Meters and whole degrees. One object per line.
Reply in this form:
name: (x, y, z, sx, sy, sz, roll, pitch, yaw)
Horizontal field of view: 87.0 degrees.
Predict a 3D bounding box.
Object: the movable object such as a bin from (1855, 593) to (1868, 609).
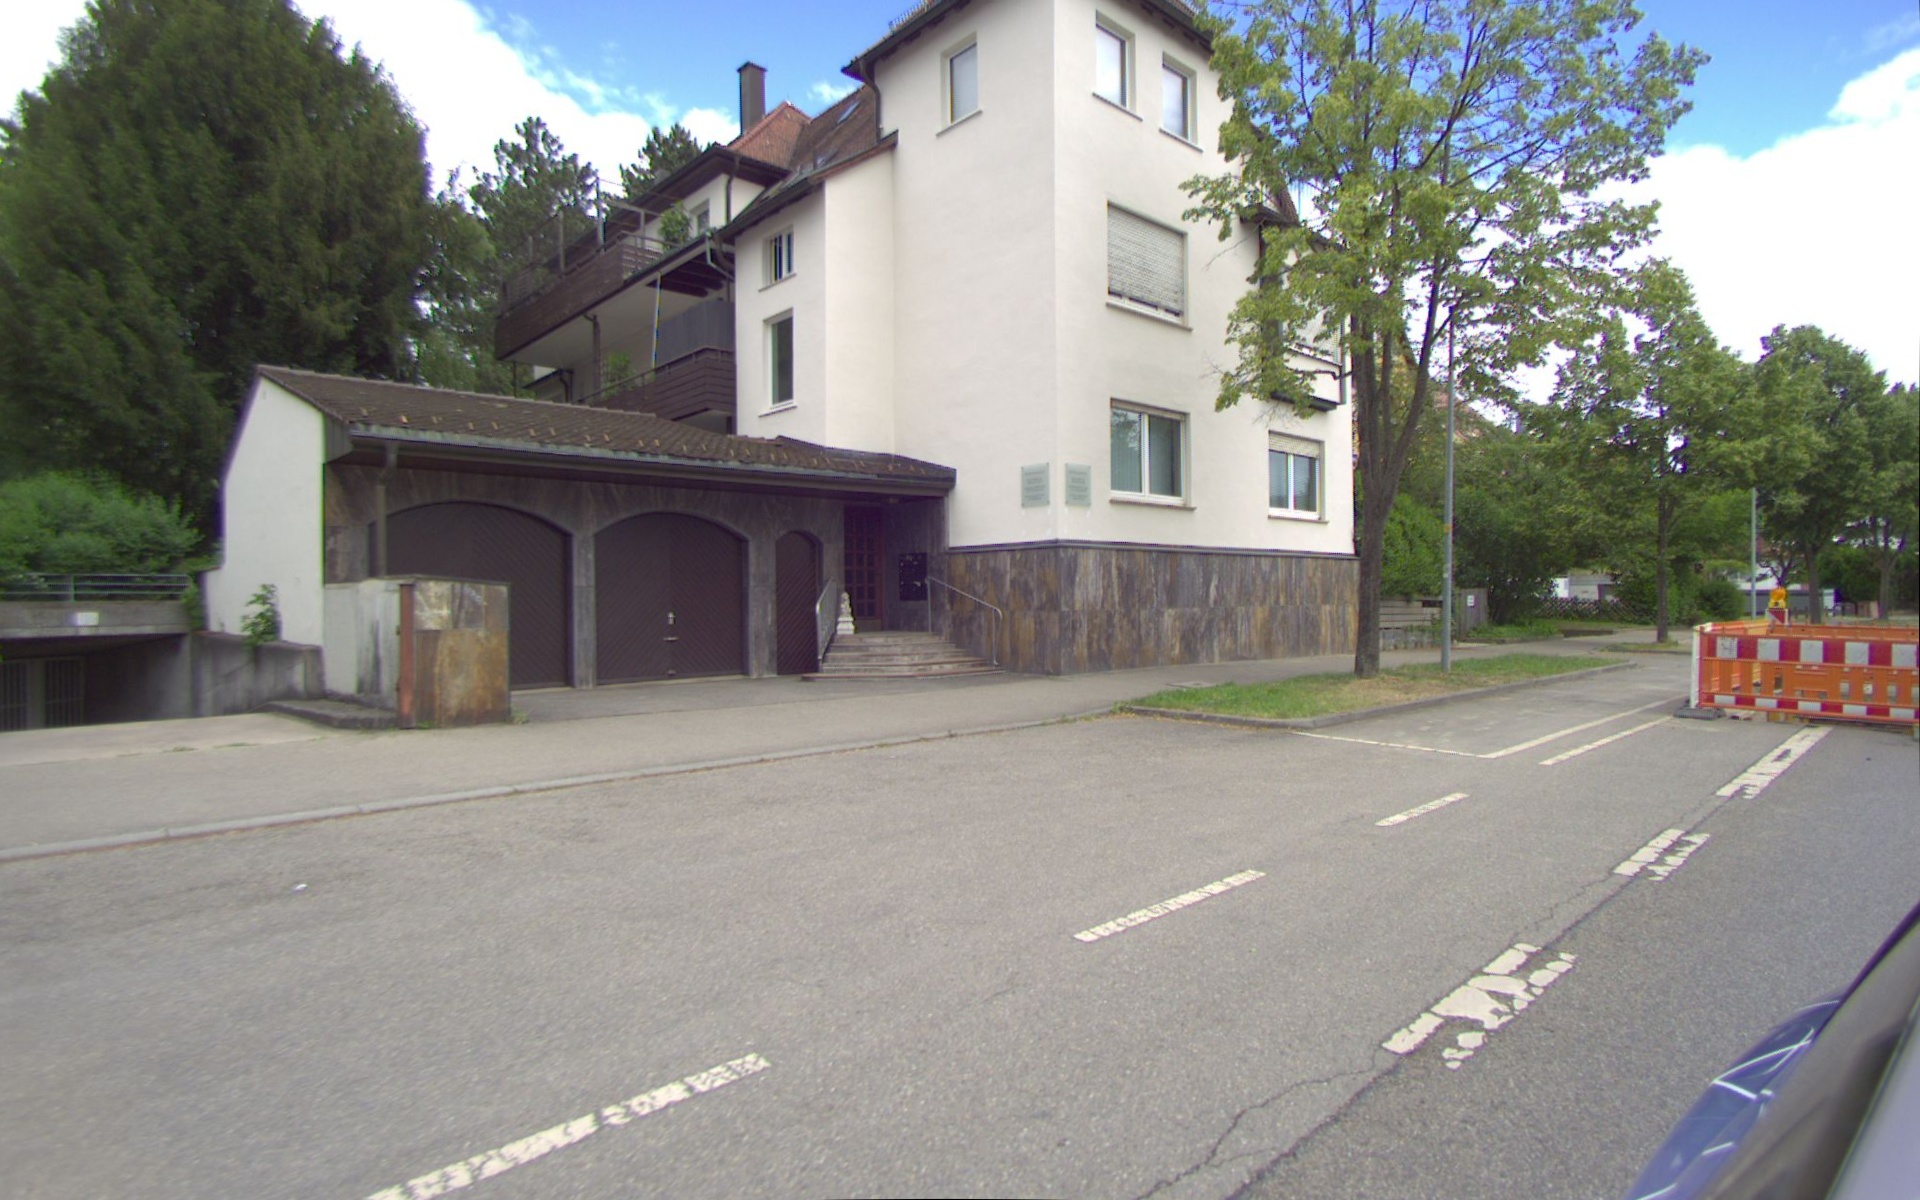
movable object such as a bin: (60.295, 0.091, 67.665, 0.508, 1.058, 0.501, 0, 0, -26)
